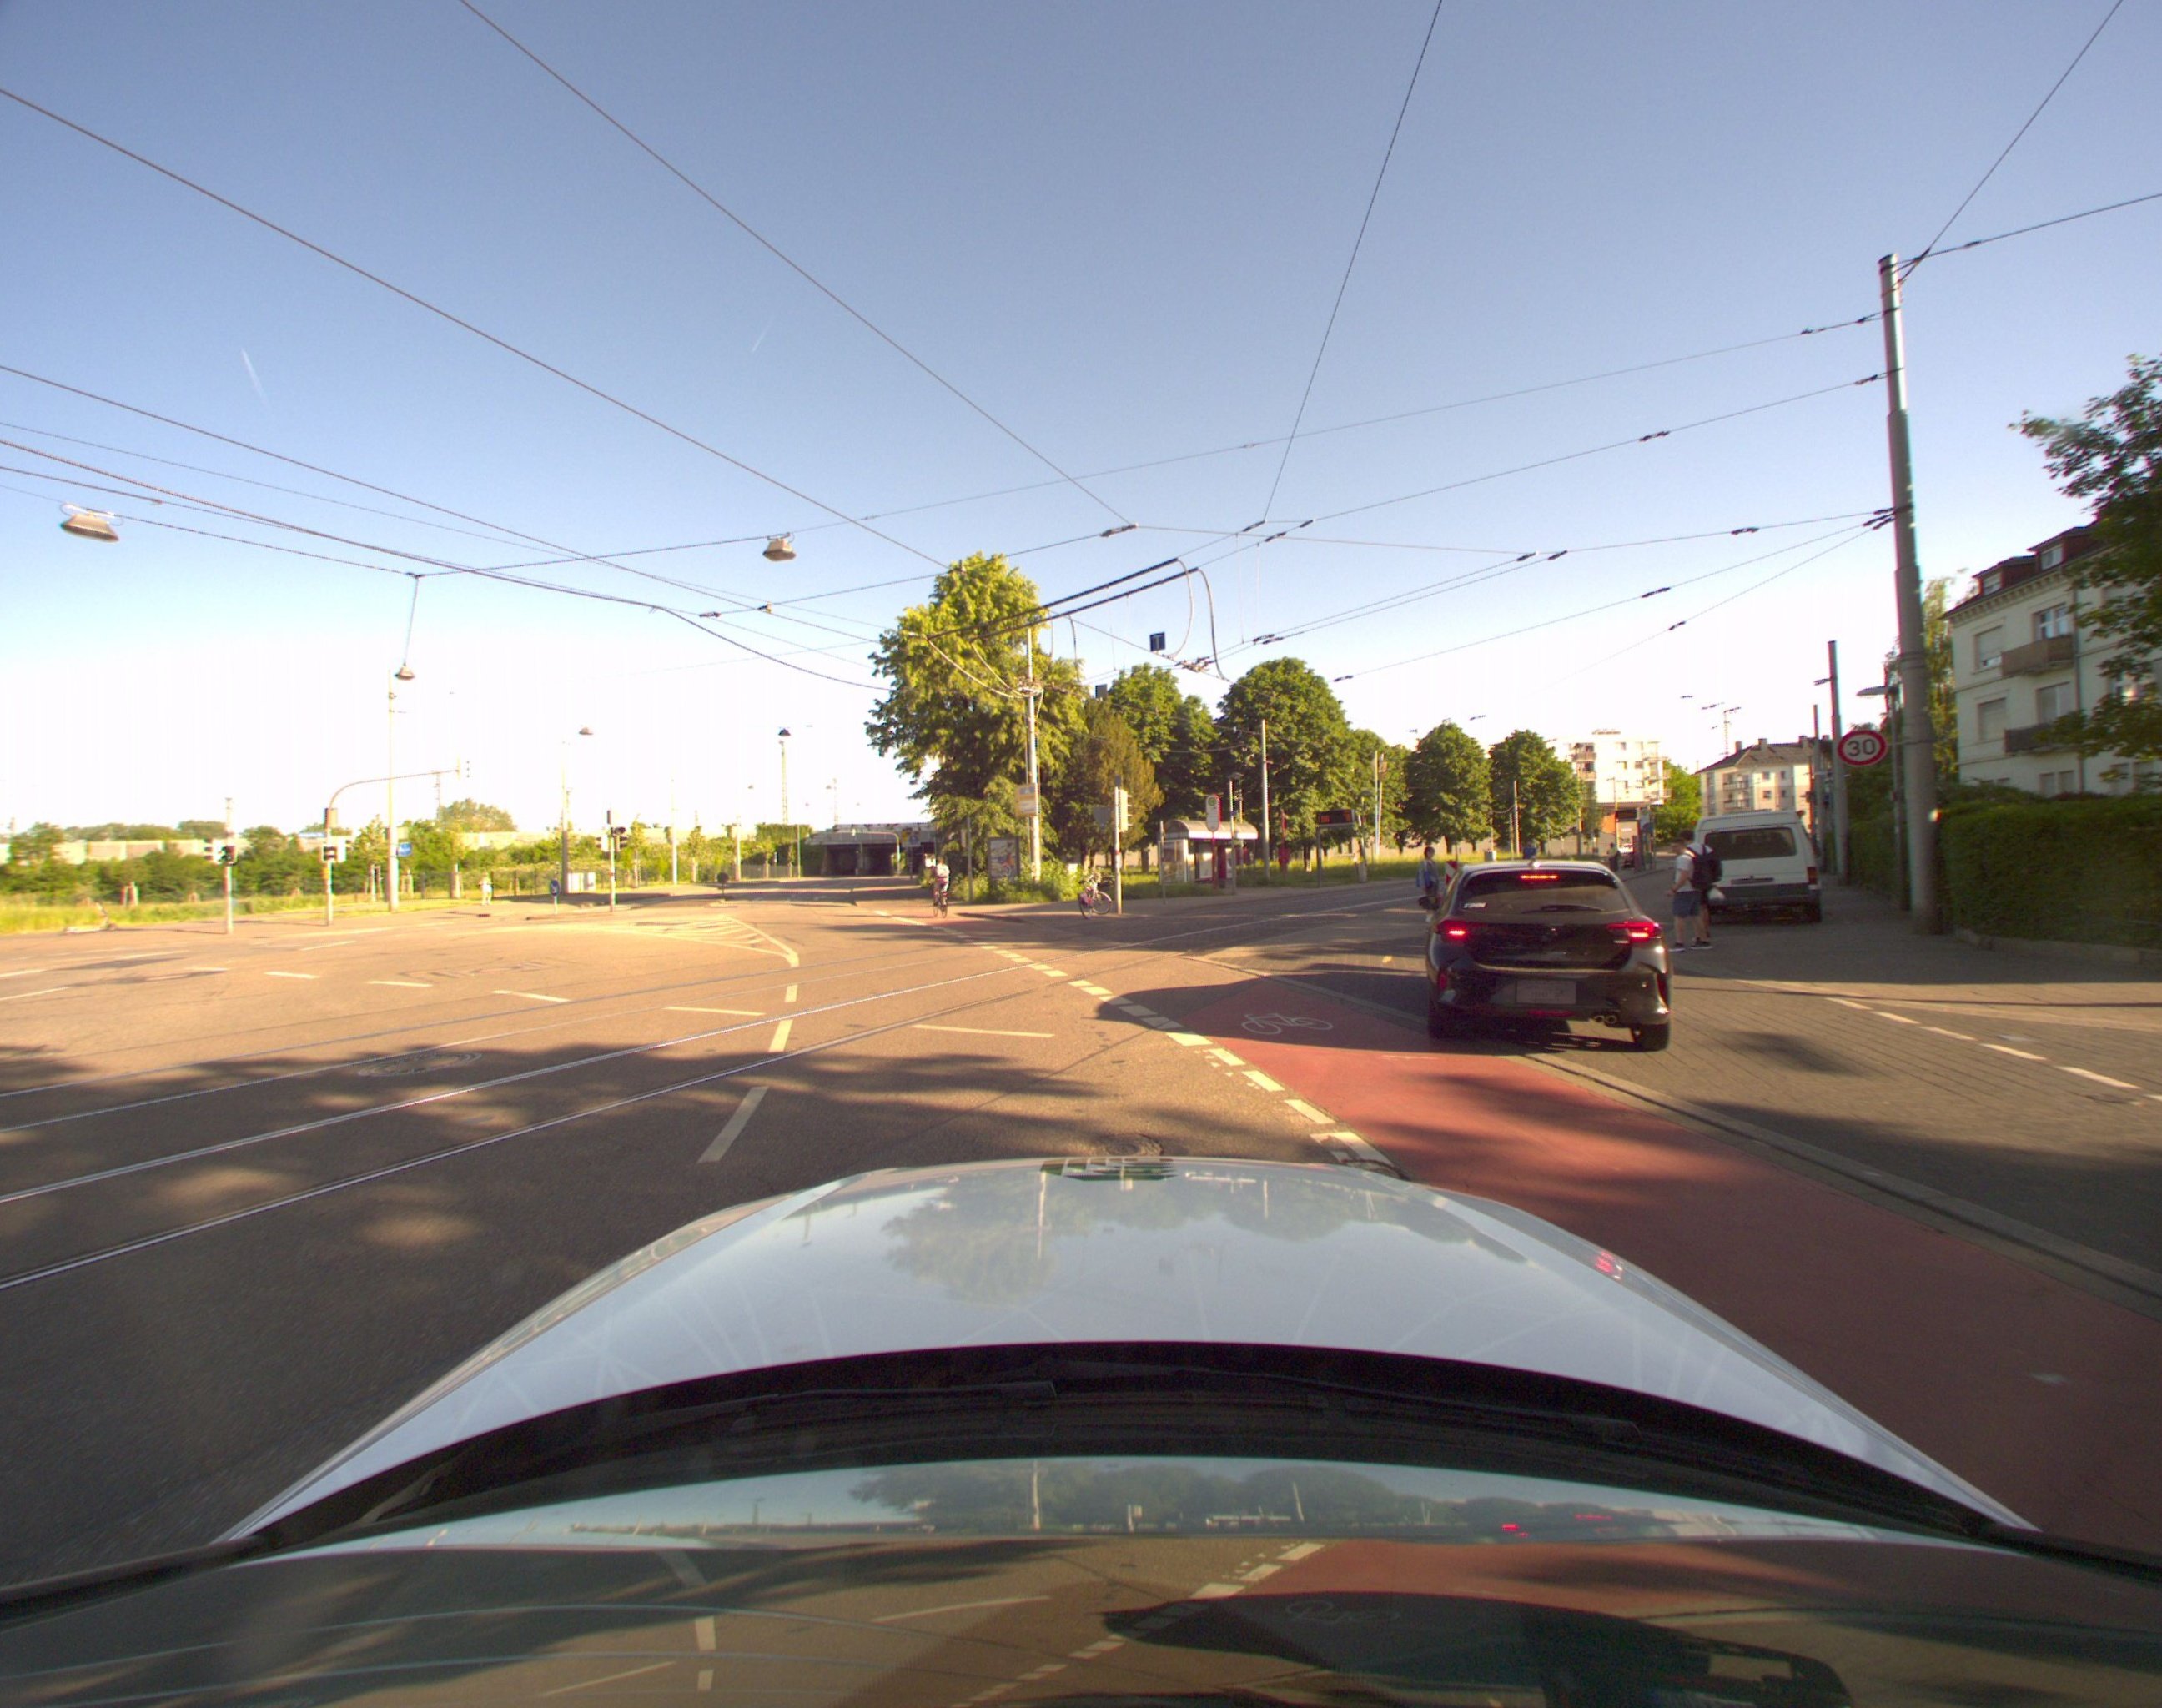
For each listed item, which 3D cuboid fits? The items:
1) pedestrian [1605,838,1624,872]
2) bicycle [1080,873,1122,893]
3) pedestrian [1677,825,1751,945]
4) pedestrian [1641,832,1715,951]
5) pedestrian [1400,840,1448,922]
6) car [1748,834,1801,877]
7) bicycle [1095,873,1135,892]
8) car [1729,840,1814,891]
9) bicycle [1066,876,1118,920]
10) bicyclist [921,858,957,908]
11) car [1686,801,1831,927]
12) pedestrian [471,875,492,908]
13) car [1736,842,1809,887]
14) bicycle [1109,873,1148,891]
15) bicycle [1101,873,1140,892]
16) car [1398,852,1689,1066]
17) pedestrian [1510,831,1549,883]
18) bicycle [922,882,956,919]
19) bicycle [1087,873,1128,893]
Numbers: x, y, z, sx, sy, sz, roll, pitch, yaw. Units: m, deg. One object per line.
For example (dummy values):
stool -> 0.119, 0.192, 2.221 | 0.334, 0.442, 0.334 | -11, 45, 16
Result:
pedestrian -> 29.132, 0.044, 44.468 | 0.672, 1.793, 1.002 | -3, -1, 41
bicycle -> 0.953, 1.386, 39.245 | 1.860, 0.906, 0.663 | -2, -1, 23
pedestrian -> 10.124, 0.486, 13.036 | 0.703, 1.846, 0.697 | -1, -1, -35
pedestrian -> 9.296, 0.571, 12.701 | 0.693, 1.792, 0.620 | -2, -1, 15
pedestrian -> 7.264, 0.559, 17.287 | 0.722, 1.693, 0.702 | -2, -1, 6
car -> 33.066, 0.057, 38.897 | 1.783, 1.927, 3.964 | -3, -1, 40
bicycle -> 1.698, 1.454, 40.971 | 1.860, 0.906, 0.663 | -2, -1, 23
car -> 21.616, 0.331, 25.618 | 1.783, 1.476, 3.965 | -2, -1, 38
bicycle -> 0.312, 1.135, 21.480 | 0.818, 1.059, 1.892 | -2, -1, 18
bicyclist -> -4.488, 0.905, 25.687 | 0.843, 1.510, 1.359 | -2, -1, -20
car -> 14.146, 0.219, 17.074 | 2.069, 2.278, 4.333 | -1, -1, 40
pedestrian -> -29.897, 1.853, 40.620 | 0.599, 1.596, 0.682 | 0, -1, -9
car -> 25.135, 0.354, 29.714 | 1.783, 1.476, 3.965 | -2, -1, 38
bicycle -> 2.484, 1.477, 42.687 | 1.860, 0.906, 0.663 | -2, -1, 23
bicycle -> 2.032, 1.467, 41.891 | 1.860, 0.906, 0.663 | -2, -1, 23
car -> 4.021, 0.738, 7.680 | 1.784, 1.441, 3.961 | -2, -1, 23
pedestrian -> 15.915, 0.096, 28.888 | 0.949, 1.793, 1.002 | -3, -1, 41
bicycle -> -4.494, 1.441, 25.715 | 0.669, 1.059, 2.068 | -2, -1, -20
bicycle -> 1.316, 1.443, 40.170 | 1.860, 0.906, 0.663 | -2, -1, 23
